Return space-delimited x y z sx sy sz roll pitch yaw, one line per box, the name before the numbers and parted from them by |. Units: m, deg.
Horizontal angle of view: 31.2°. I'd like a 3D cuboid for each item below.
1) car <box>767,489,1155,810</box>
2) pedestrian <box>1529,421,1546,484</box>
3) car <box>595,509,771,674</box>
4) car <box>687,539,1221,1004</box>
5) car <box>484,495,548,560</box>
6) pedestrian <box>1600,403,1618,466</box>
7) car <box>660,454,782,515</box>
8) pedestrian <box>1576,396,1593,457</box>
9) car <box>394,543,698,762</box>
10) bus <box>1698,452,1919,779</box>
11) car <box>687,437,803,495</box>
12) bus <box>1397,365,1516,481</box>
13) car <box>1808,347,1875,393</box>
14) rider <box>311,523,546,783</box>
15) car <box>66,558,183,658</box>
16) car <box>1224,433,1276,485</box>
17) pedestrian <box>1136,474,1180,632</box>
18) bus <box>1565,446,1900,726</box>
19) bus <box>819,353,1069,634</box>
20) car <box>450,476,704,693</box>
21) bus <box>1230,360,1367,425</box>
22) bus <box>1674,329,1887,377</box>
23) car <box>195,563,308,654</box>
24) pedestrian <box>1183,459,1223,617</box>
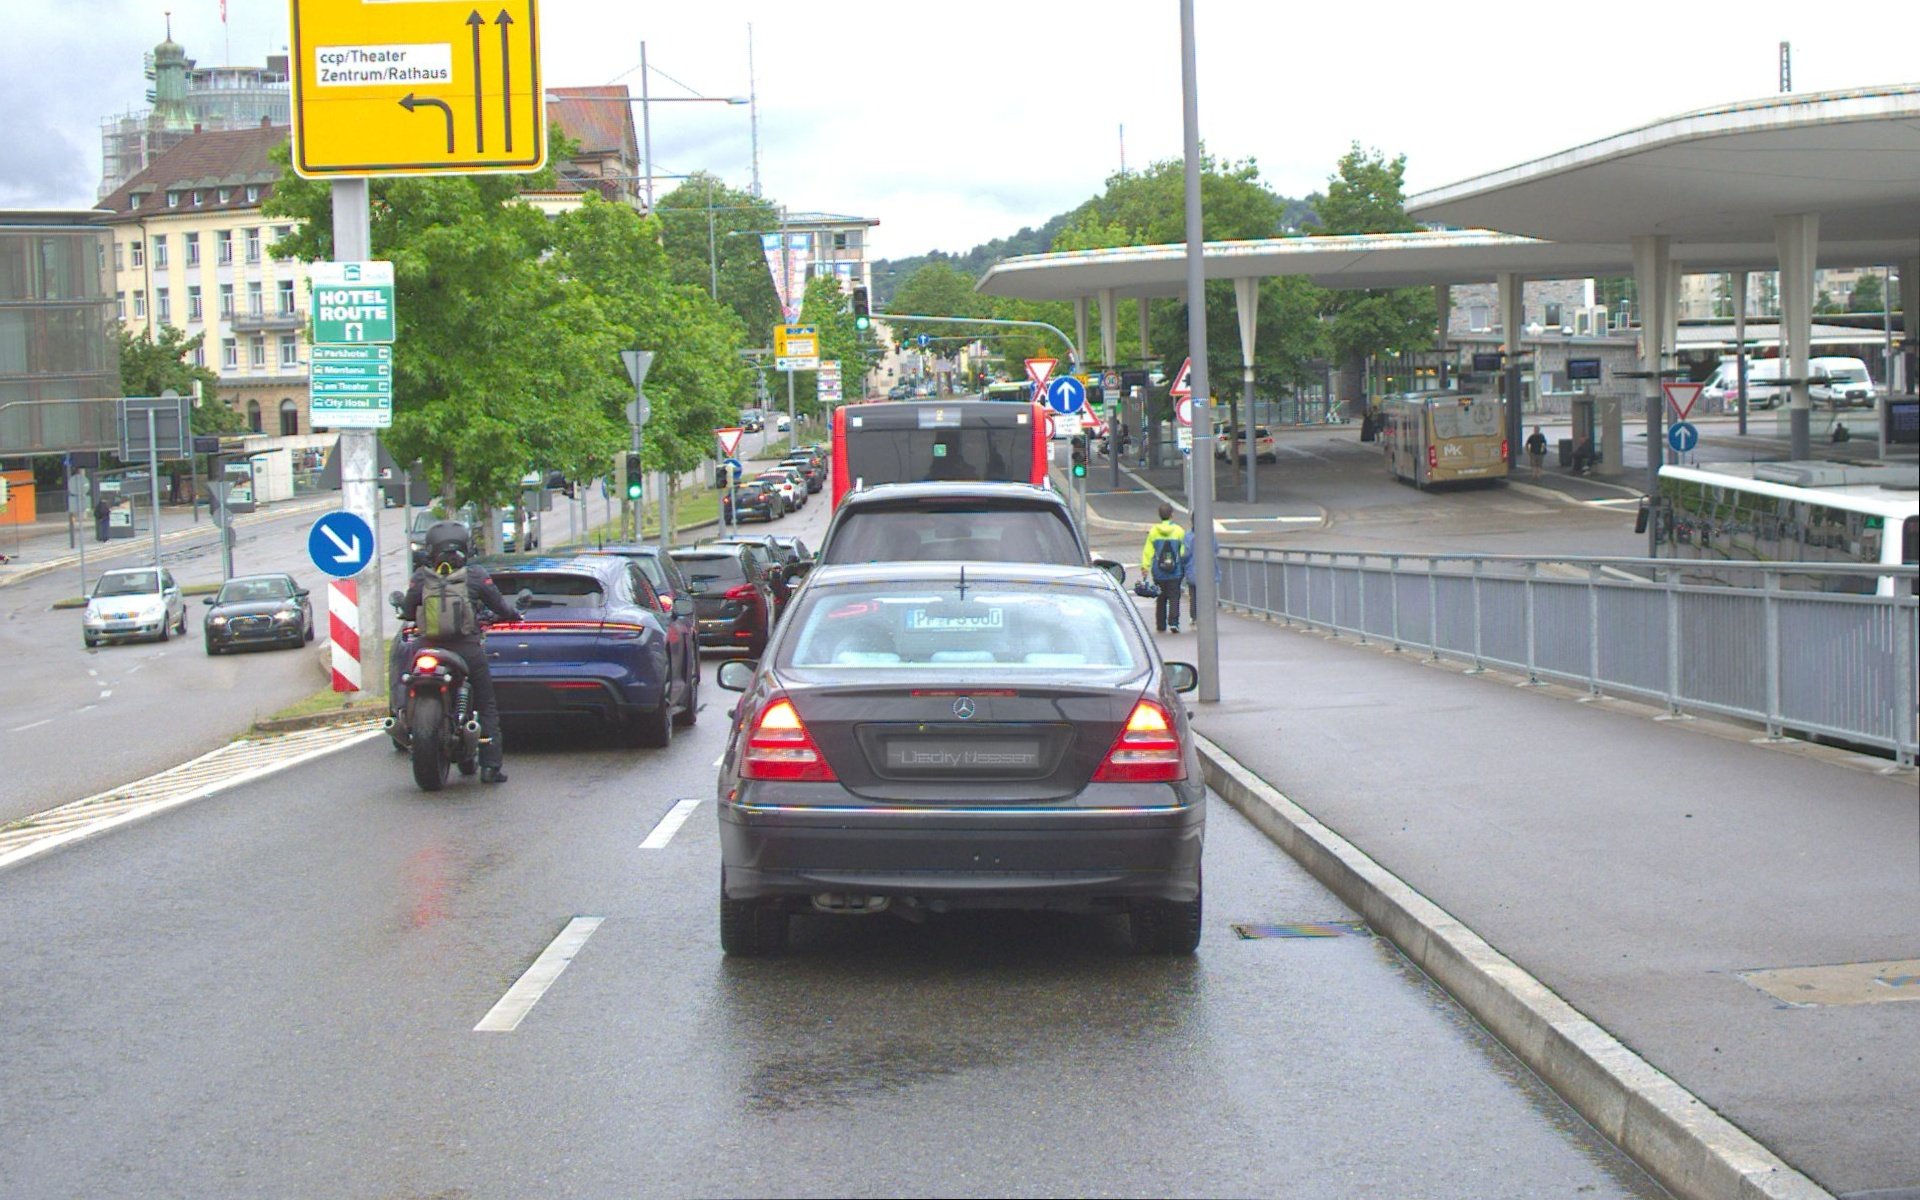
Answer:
car | 0.115 0.195 20.095 1.827 1.681 3.999 0 2 6
pedestrian | 18.622 -4.739 110.773 0.424 2.006 0.483 -2 2 2
car | -3.508 -0.154 44.161 1.993 1.999 4.001 0 2 -1
car | -0.008 0.522 12.943 1.706 1.414 3.726 1 2 0
car | -14.615 -2.376 113.320 1.993 2.007 4.203 -2 1 -7
pedestrian | 21.031 -5.361 111.374 0.424 2.007 0.483 -2 0 2
car | -8.418 -4.076 121.296 3.987 2.006 2.000 -2 2 4
pedestrian | 20.871 -5.800 114.857 0.424 2.006 0.483 -2 2 2
car | -2.977 0.324 25.472 1.760 1.431 4.000 0 2 0
bus | 11.142 0.035 40.968 2.645 3.225 7.074 1 5 -4
car | -7.938 -4.953 127.413 3.987 2.006 2.000 -2 2 4
bus | 16.474 -5.818 114.616 3.179 3.588 10.509 -1 2 5
car | 41.022 -10.706 160.011 1.993 2.006 4.001 -2 3 -1
rider | -3.187 0.279 20.848 0.881 1.467 2.196 1 2 6
car | -18.175 0.144 74.952 1.993 2.007 4.001 -2 1 -8
car | 11.837 -5.751 140.102 1.994 2.006 4.000 -2 2 5
pedestrian | 2.550 -0.595 44.244 0.489 2.007 0.469 -2 0 2
bus | 10.649 -0.334 48.109 2.646 3.224 7.074 -2 5 -3
bus | -0.230 -1.350 44.342 2.827 3.178 10.310 0 2 -1
car | -3.679 -0.202 33.695 1.993 1.999 4.000 0 2 1
bus | 19.013 -11.643 193.303 7.197 3.384 3.083 -2 3 -3
bus | 41.079 -12.369 172.225 10.167 2.006 2.170 -2 2 -3
car | -13.955 0.131 67.907 1.832 1.521 4.596 -2 3 -8
pedestrian | 3.123 -0.793 44.176 0.424 2.007 0.483 -2 0 2
